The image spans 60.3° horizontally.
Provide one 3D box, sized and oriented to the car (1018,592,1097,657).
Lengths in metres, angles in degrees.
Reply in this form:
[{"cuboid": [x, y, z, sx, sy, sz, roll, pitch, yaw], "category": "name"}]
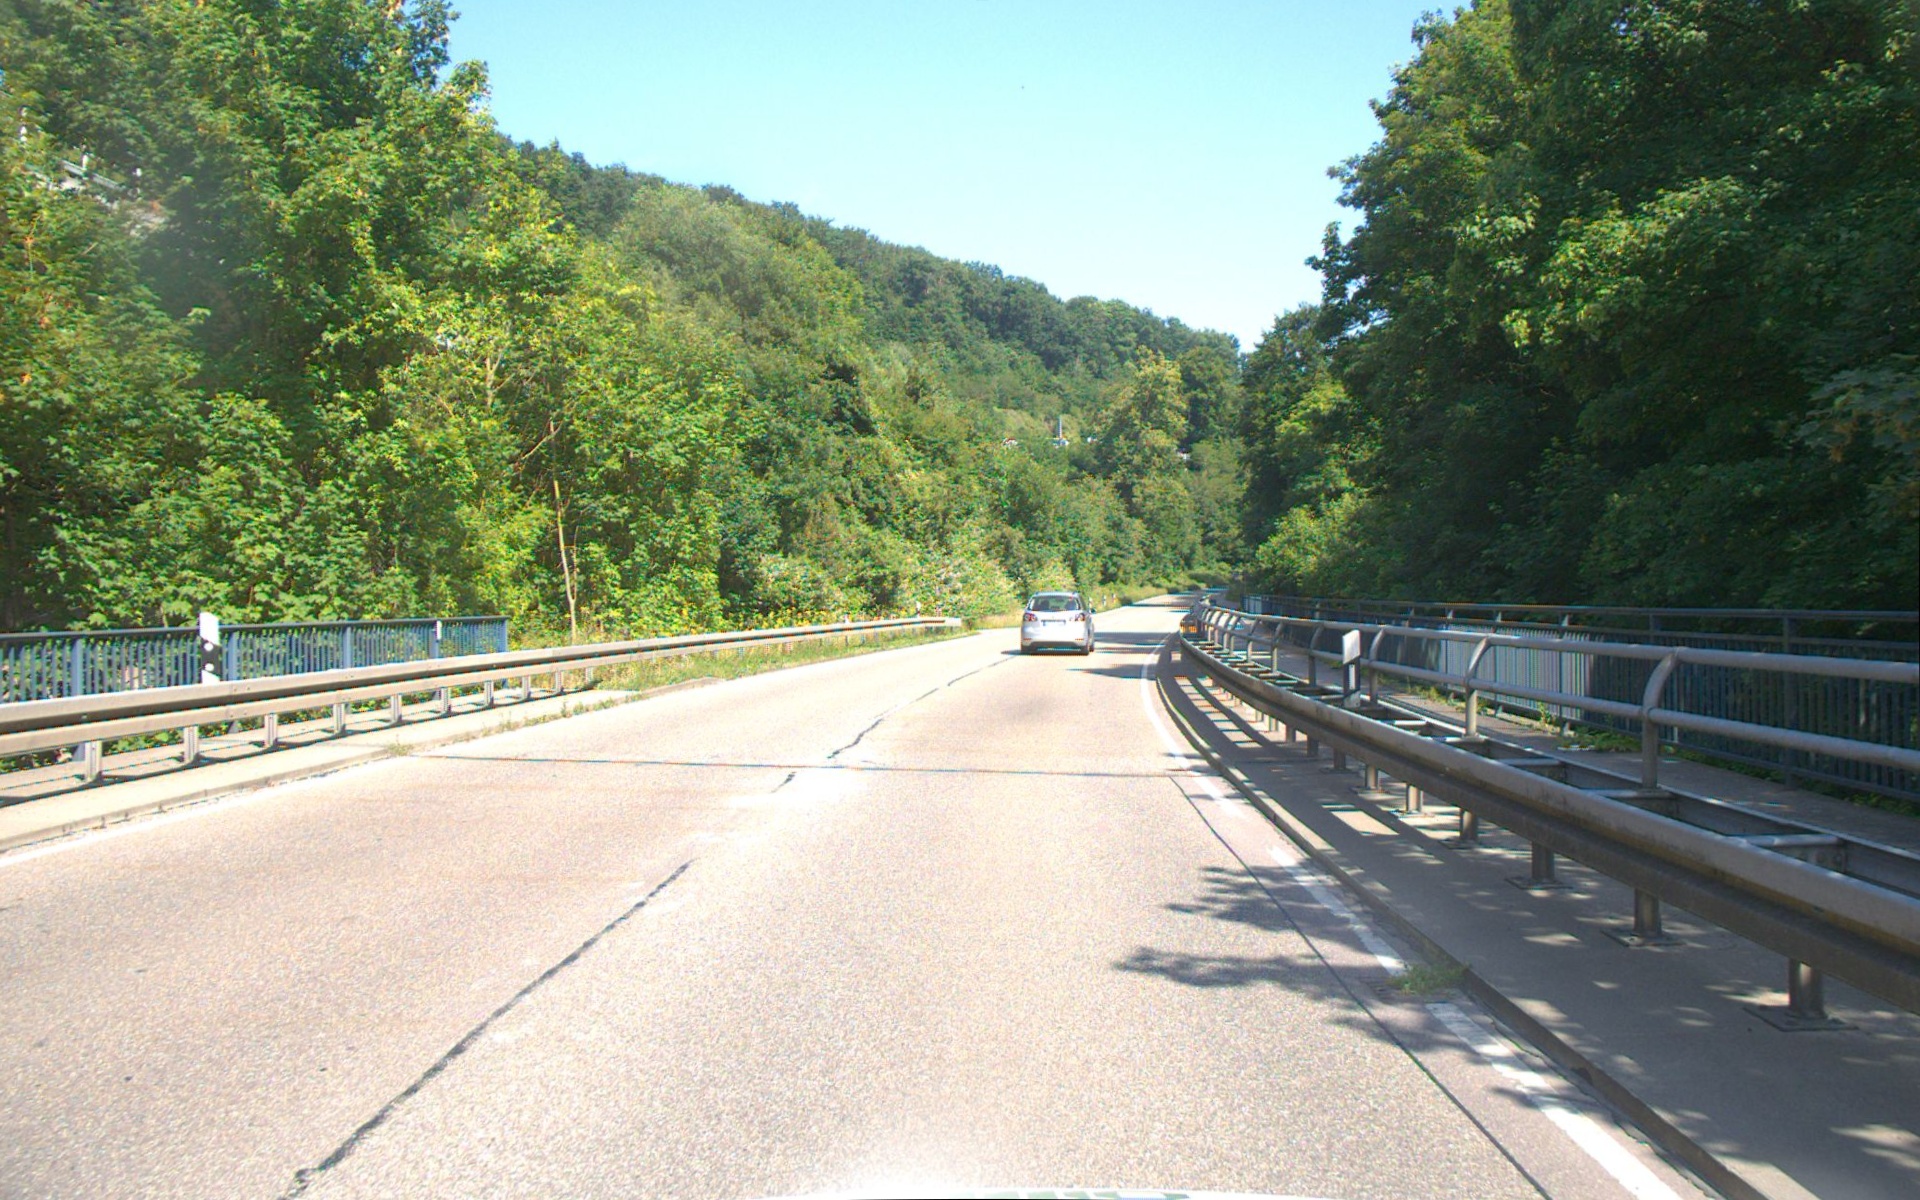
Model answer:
[{"cuboid": [2.538, 0.604, 42.406, 1.714, 1.546, 4.162, 1, 0, 7], "category": "car"}]
